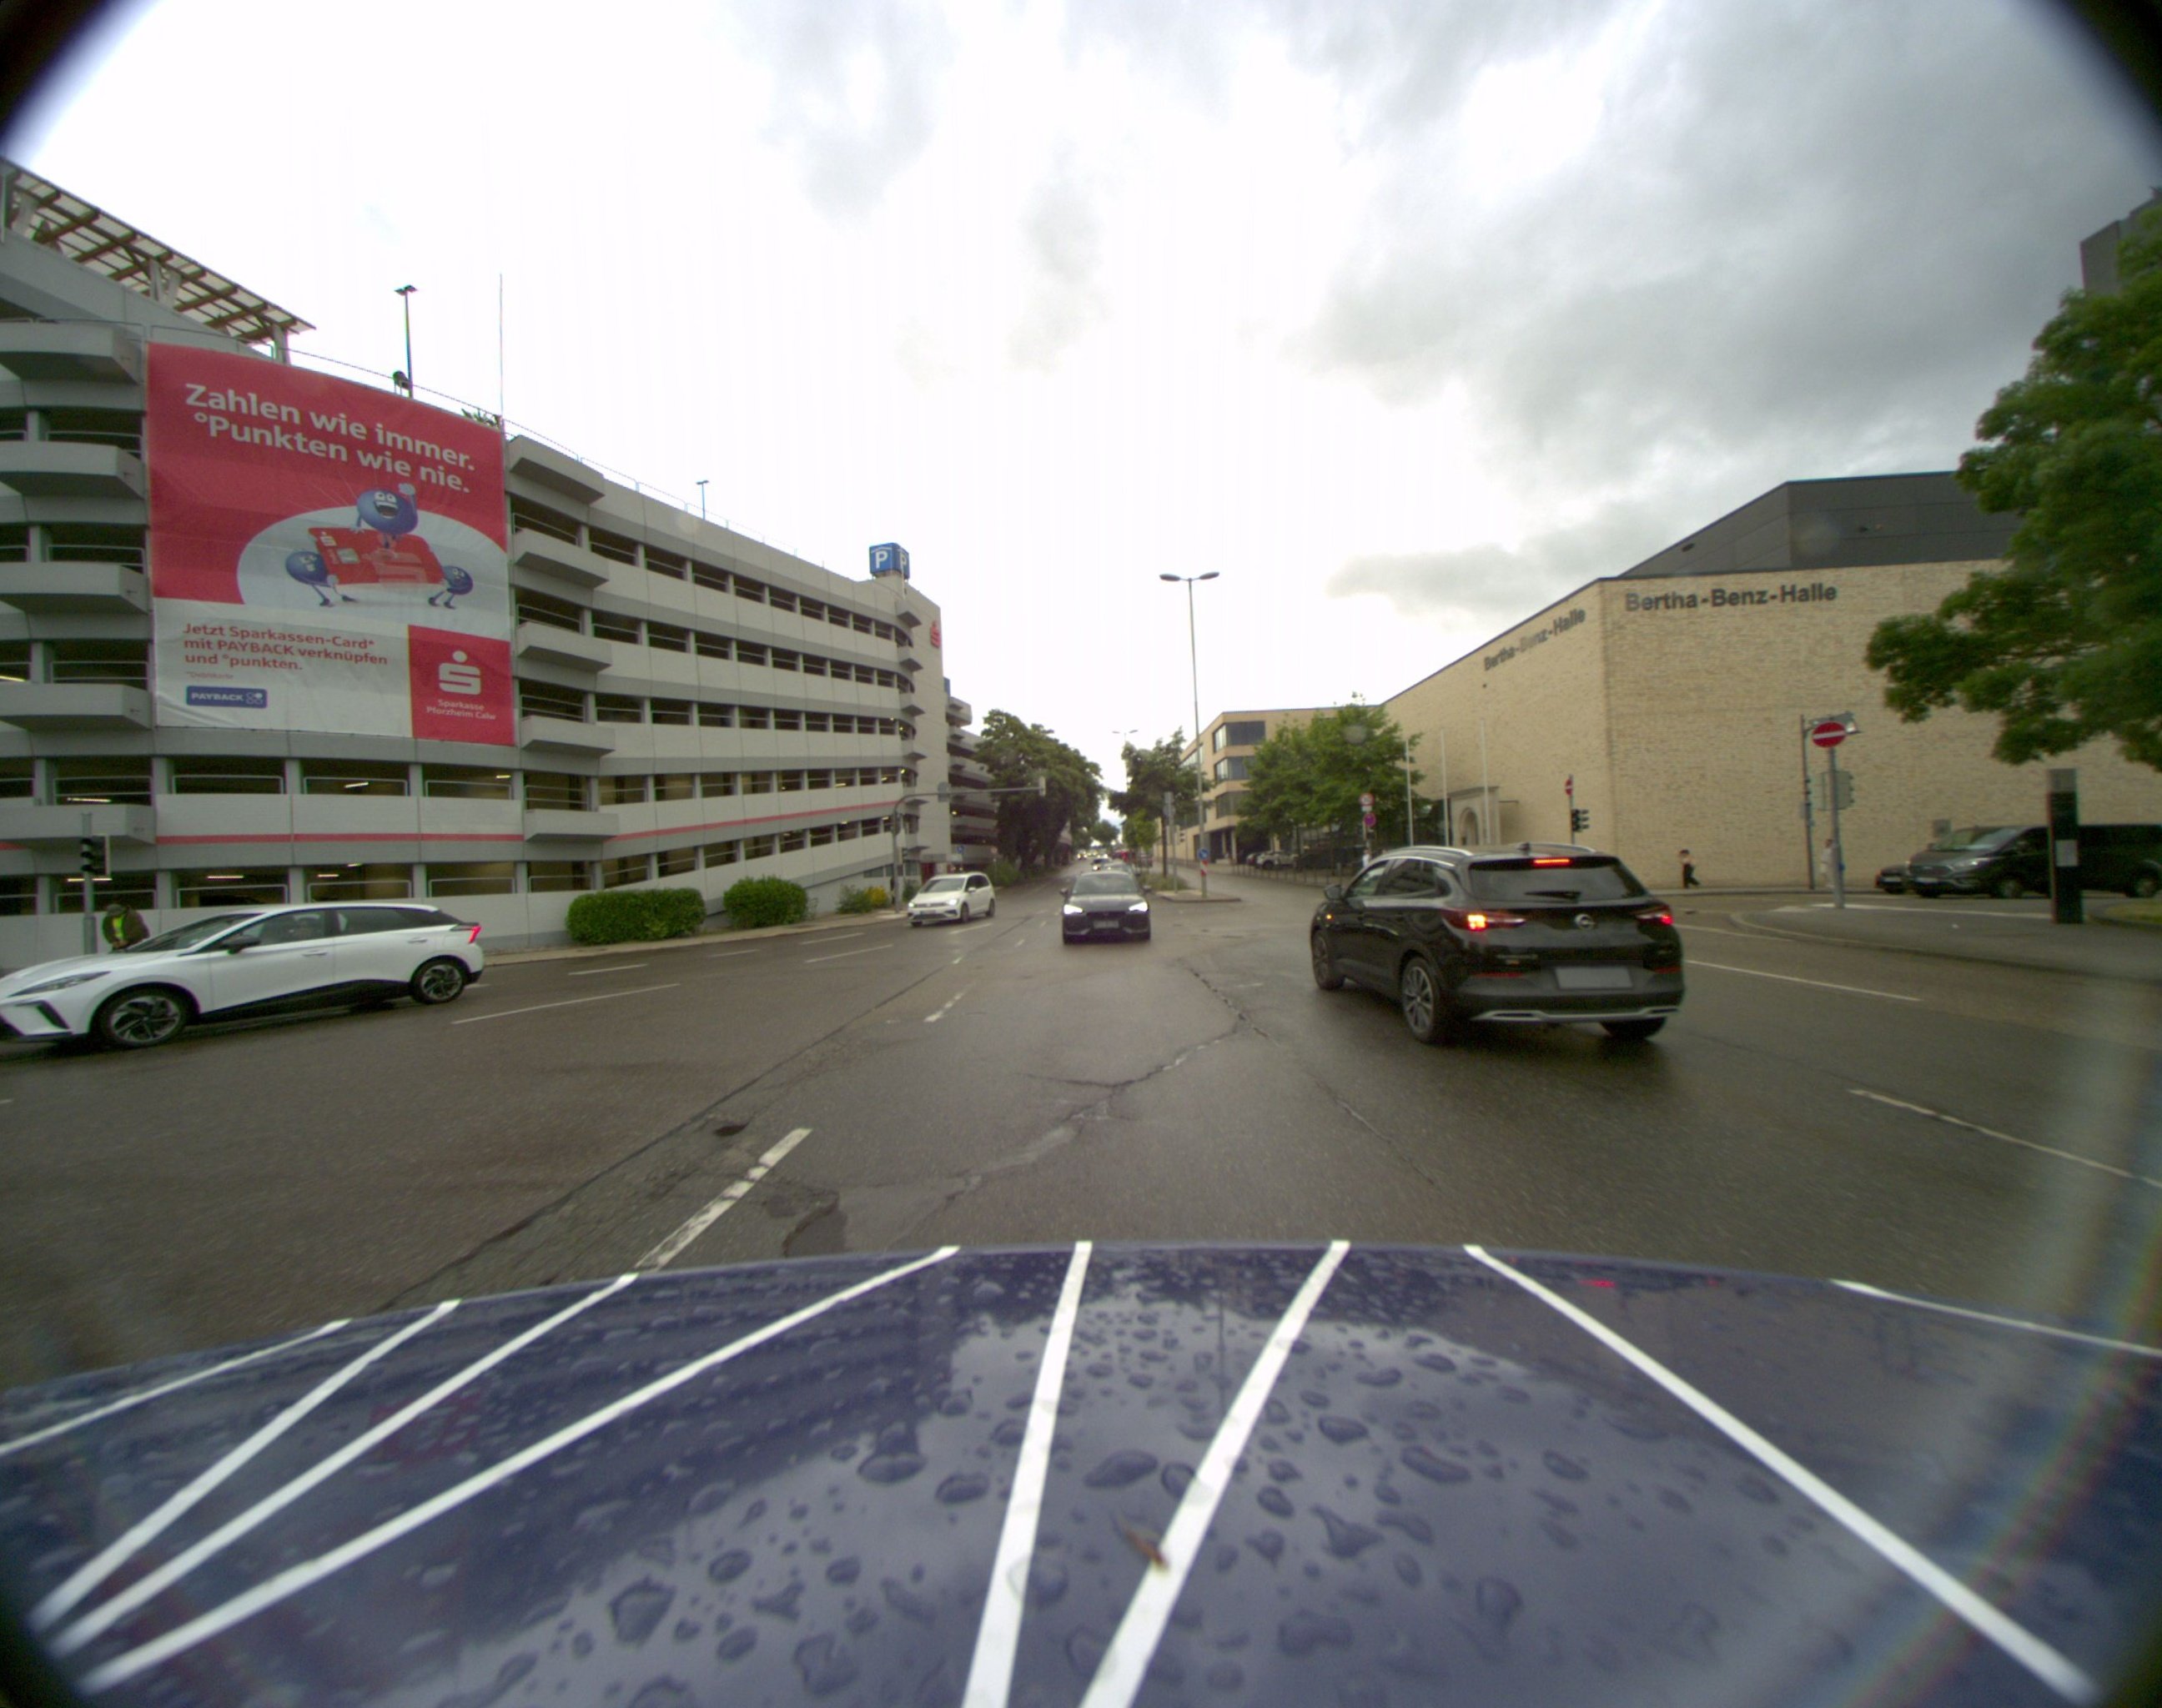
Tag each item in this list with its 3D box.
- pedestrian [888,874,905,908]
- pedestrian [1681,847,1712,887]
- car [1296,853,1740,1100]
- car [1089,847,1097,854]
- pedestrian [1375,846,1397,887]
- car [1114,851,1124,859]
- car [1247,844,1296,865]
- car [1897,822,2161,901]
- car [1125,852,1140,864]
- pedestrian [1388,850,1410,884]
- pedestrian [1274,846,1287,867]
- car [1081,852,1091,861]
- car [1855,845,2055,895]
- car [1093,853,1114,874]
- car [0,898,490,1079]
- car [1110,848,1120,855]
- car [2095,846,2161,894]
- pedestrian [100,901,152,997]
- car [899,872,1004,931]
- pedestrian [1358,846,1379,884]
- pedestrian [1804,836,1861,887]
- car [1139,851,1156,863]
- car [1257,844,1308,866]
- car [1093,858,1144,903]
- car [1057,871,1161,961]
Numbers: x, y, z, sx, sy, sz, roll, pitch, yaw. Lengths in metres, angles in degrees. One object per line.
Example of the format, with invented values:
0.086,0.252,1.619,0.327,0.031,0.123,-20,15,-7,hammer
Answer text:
-9.039,1.814,37.277,0.584,1.650,0.519,0,2,18,pedestrian
21.791,0.461,26.916,0.622,1.368,0.475,-4,1,1,pedestrian
3.542,0.834,7.255,1.812,1.585,4.295,-3,0,2,car
3.338,-0.895,204.483,1.998,1.716,4.401,-2,-1,1,car
13.508,0.565,33.684,0.595,1.761,0.692,-4,1,0,pedestrian
7.142,0.174,143.429,1.675,1.598,4.300,0,0,-1,car
17.395,0.066,69.408,3.996,1.576,2.001,-4,0,5,car
24.896,0.187,20.002,4.790,1.914,2.000,1,0,-2,car
7.677,0.602,113.102,1.855,1.841,4.300,0,0,-1,car
14.691,0.603,35.098,0.595,1.507,0.692,-4,1,0,pedestrian
16.349,0.210,62.246,0.804,1.637,0.976,-4,0,7,pedestrian
1.028,0.537,162.947,1.998,1.716,4.401,-2,-1,1,car
26.774,0.478,23.373,3.998,1.433,1.999,1,0,-3,car
2.148,0.863,71.231,1.804,1.817,3.950,-5,0,2,car
-10.341,1.465,9.520,1.802,1.468,4.216,-5,-1,22,car
7.985,-0.508,177.872,2.028,1.598,4.300,0,0,-1,car
34.202,0.501,23.117,3.997,1.449,2.000,1,0,0,car
-19.535,1.915,15.552,0.546,1.879,0.506,1,-1,-39,pedestrian
-4.280,1.543,25.873,1.997,1.716,4.404,-2,-1,12,car
13.761,0.523,36.414,0.595,1.721,0.692,-4,1,-4,pedestrian
26.355,0.265,26.669,1.113,1.690,0.807,-4,1,-2,pedestrian
8.138,0.391,93.114,1.675,1.461,4.300,-1,0,-1,car
17.718,0.075,66.926,3.996,1.576,2.001,-4,0,5,car
1.545,1.064,32.515,1.846,1.647,4.000,-4,0,-1,car
0.435,1.167,15.940,1.739,1.380,4.581,-4,0,-2,car
